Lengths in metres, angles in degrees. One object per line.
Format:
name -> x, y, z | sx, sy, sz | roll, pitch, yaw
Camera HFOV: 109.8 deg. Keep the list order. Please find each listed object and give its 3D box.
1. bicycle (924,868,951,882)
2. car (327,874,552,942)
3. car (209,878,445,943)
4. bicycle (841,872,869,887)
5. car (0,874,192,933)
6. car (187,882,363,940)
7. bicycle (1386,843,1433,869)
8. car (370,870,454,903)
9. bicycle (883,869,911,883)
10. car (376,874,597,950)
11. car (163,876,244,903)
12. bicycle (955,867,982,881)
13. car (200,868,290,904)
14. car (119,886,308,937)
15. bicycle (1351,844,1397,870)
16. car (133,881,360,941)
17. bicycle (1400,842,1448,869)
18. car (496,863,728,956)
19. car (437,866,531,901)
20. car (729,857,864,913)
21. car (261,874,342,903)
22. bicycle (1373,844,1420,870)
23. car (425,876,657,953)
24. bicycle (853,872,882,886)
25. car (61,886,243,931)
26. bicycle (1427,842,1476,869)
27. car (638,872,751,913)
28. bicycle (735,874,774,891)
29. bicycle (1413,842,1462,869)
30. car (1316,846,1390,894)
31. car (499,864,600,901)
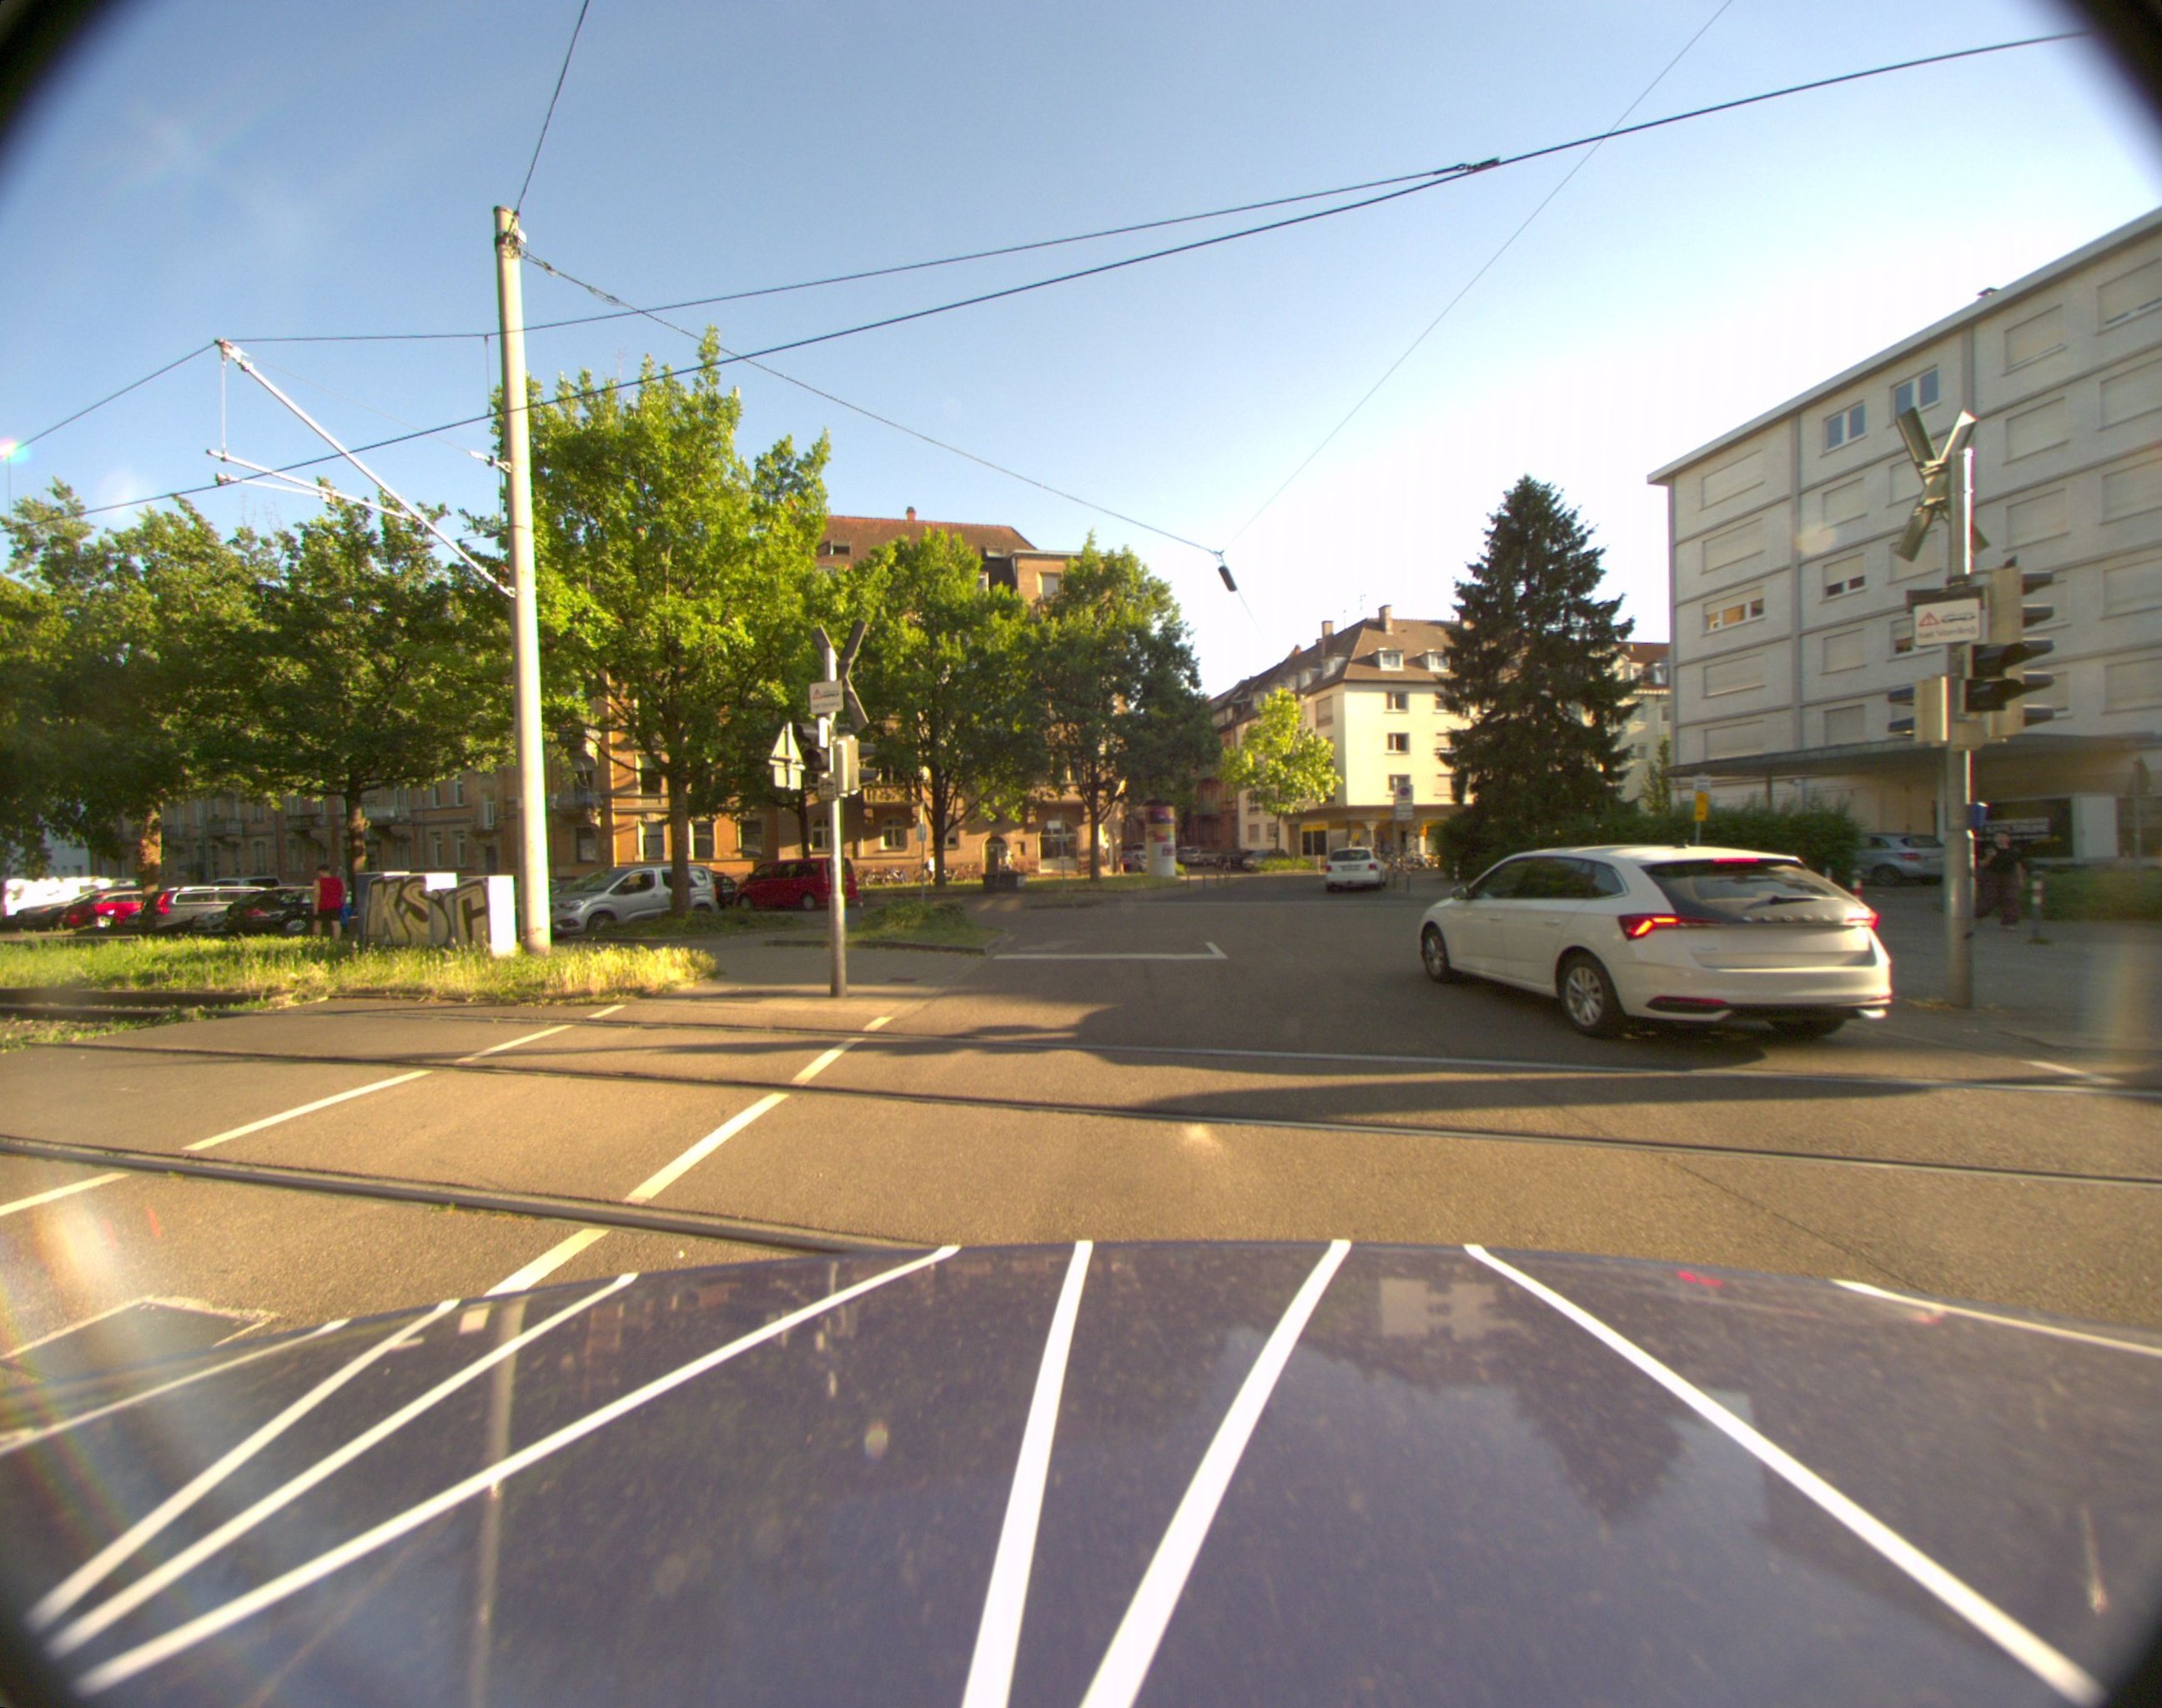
bicycle -> -8.316, 1.218, 44.069 | 1.511, 0.728, 0.368 | -2, 1, -13
car -> -18.412, 1.455, 22.112 | 1.945, 1.563, 4.561 | 0, 1, 25
car -> -23.002, 1.632, 23.454 | 1.995, 1.563, 4.723 | 0, 1, 25
bicycle -> -12.729, 1.435, 42.836 | 1.511, 0.728, 0.368 | -2, 1, -13
car -> -39.572, 1.896, 30.324 | 2.150, 2.026, 4.868 | -2, 0, 23
car -> -25.485, 1.753, 24.140 | 1.715, 1.505, 3.415 | -2, 0, 25
bicycle -> 19.370, 0.085, 44.943 | 0.881, 1.437, 3.376 | -2, 1, -9
car -> -34.128, 1.655, 38.780 | 3.700, 1.467, 1.691 | -2, 3, 23
bicycle -> -10.491, 1.274, 43.348 | 1.511, 0.728, 0.368 | -2, 1, -13
car -> -16.153, 1.477, 20.998 | 1.946, 1.681, 4.455 | -1, 1, 17
car -> -54.170, 2.177, 46.921 | 4.382, 1.433, 1.884 | -2, 3, 22
bicycle -> -6.568, 1.148, 44.351 | 1.511, 0.728, 0.368 | -4, 1, -13
car -> -48.977, 1.882, 44.502 | 4.714, 1.872, 1.915 | -2, 3, 22
car -> -30.163, 1.947, 26.591 | 1.680, 1.452, 4.006 | -2, 0, 23
bicycle -> 16.813, 0.148, 43.663 | 0.881, 1.437, 3.376 | -2, 1, -9
car -> -27.840, 1.820, 25.592 | 1.995, 1.563, 4.723 | 0, 1, 25
bicycle -> 20.291, 0.061, 45.021 | 0.881, 1.437, 3.376 | -2, 2, -9
car -> -11.431, 1.233, 18.931 | 1.945, 1.903, 4.561 | 0, 1, 25
car -> -28.778, 1.435, 36.647 | 3.873, 1.467, 1.691 | -2, 3, 21
car -> -10.858, 1.194, 28.951 | 4.761, 1.923, 1.784 | -2, 3, 22
car -> -43.686, 1.951, 42.579 | 3.879, 1.430, 1.771 | -2, 3, 22
bicycle -> 18.148, 0.133, 43.827 | 0.881, 1.437, 3.376 | -2, 1, -9
car -> -13.920, 1.470, 19.944 | 1.945, 1.563, 4.561 | 0, 1, 25
bicycle -> -11.982, 1.413, 42.611 | 1.511, 0.728, 0.368 | -2, 1, -13
car -> -34.785, 1.998, 28.605 | 1.680, 1.415, 4.006 | -2, 0, 23
bicycle -> 21.952, 0.045, 45.132 | 0.881, 1.437, 3.376 | -2, 2, -9
car -> -15.862, 1.568, 31.148 | 4.260, 1.426, 1.784 | -2, 3, 25
bicycle -> -17.994, 1.557, 41.893 | 1.899, 0.843, 0.525 | -3, 1, -13
bicycle -> 21.091, 0.044, 45.031 | 0.881, 1.437, 3.376 | -2, 2, -9
car -> 9.461, 0.496, 26.215 | 1.919, 1.442, 4.303 | -3, 0, 25
car -> -24.301, 1.309, 34.744 | 4.260, 1.467, 1.784 | -2, 3, 25
